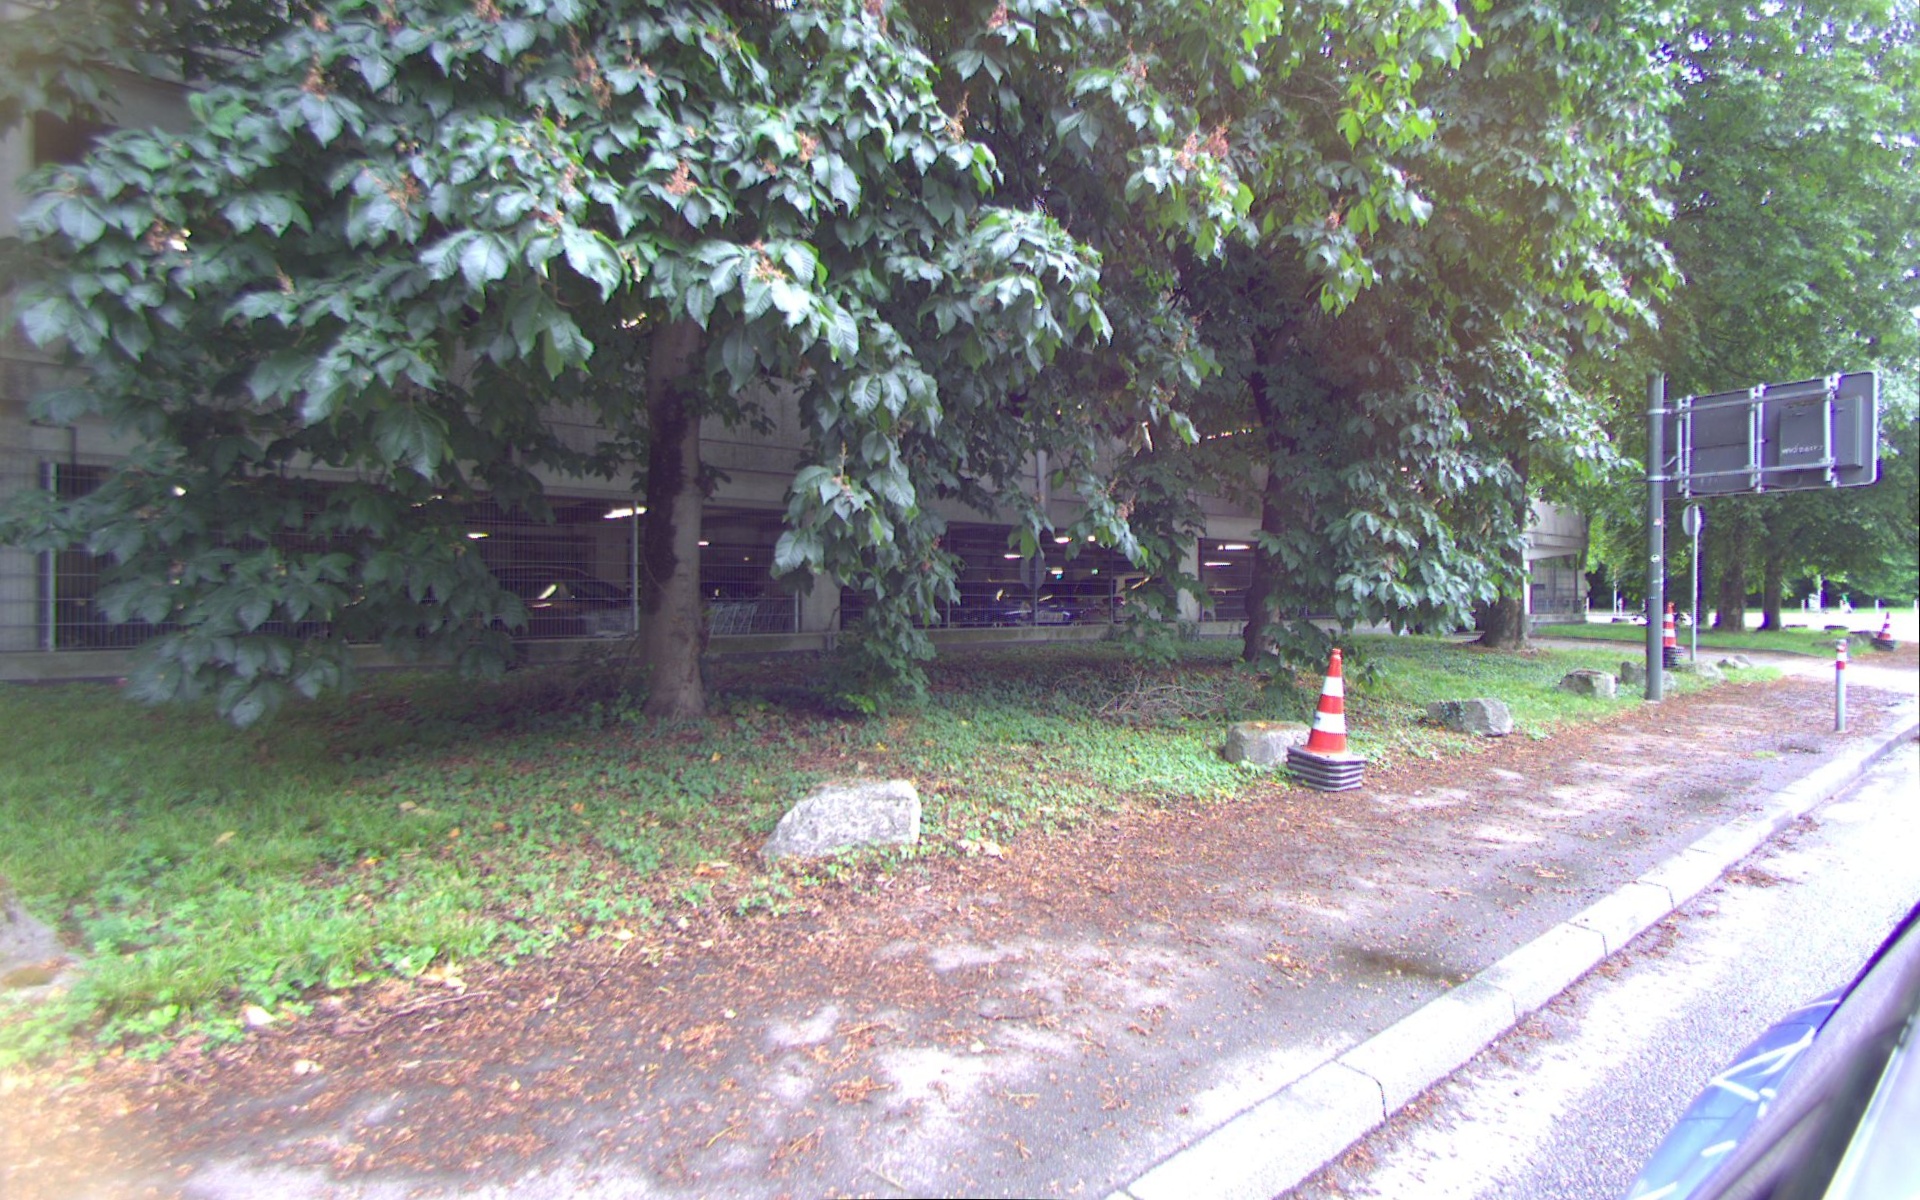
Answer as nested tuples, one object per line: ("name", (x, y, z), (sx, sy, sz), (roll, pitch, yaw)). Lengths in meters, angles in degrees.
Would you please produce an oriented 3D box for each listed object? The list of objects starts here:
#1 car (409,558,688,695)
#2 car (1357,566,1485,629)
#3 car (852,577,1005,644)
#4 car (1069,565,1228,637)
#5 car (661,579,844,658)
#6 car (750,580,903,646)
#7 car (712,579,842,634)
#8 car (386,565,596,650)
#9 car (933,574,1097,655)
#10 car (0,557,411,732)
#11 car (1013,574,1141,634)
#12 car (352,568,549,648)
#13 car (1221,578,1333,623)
("car", (-6.878, 0.346, 17.084), (3.929, 2.039, 1.997), (-2, 0, -40))
("car", (14.536, -0.080, 31.812), (4.653, 1.858, 1.922), (-1, 0, -41))
("car", (-0.769, 0.228, 25.802), (3.639, 1.565, 1.718), (-2, 1, -42))
("car", (5.068, -0.026, 26.823), (4.587, 1.730, 1.588), (-2, 0, -41))
("car", (-4.596, 0.364, 22.702), (3.639, 1.565, 1.718), (-2, 1, -42))
("car", (-3.457, 0.294, 26.545), (3.639, 1.565, 1.718), (-2, 1, -42))
("car", (-5.724, 0.178, 31.862), (3.638, 1.565, 1.719), (-2, 1, -41))
("car", (-9.762, 0.109, 21.204), (3.639, 1.627, 1.718), (-2, 1, -42))
("car", (1.345, 0.296, 23.809), (3.791, 1.730, 1.588), (-2, 0, -41))
("car", (-10.339, 0.472, 13.897), (4.594, 2.039, 1.996), (-2, 0, -41))
("car", (3.441, 0.085, 29.417), (3.629, 1.606, 1.718), (-2, 1, -42))
("car", (-11.451, 0.139, 22.848), (3.639, 1.627, 1.718), (-2, 1, -42))
("car", (11.354, 0.012, 36.149), (3.927, 1.471, 1.876), (-2, 1, -38))
